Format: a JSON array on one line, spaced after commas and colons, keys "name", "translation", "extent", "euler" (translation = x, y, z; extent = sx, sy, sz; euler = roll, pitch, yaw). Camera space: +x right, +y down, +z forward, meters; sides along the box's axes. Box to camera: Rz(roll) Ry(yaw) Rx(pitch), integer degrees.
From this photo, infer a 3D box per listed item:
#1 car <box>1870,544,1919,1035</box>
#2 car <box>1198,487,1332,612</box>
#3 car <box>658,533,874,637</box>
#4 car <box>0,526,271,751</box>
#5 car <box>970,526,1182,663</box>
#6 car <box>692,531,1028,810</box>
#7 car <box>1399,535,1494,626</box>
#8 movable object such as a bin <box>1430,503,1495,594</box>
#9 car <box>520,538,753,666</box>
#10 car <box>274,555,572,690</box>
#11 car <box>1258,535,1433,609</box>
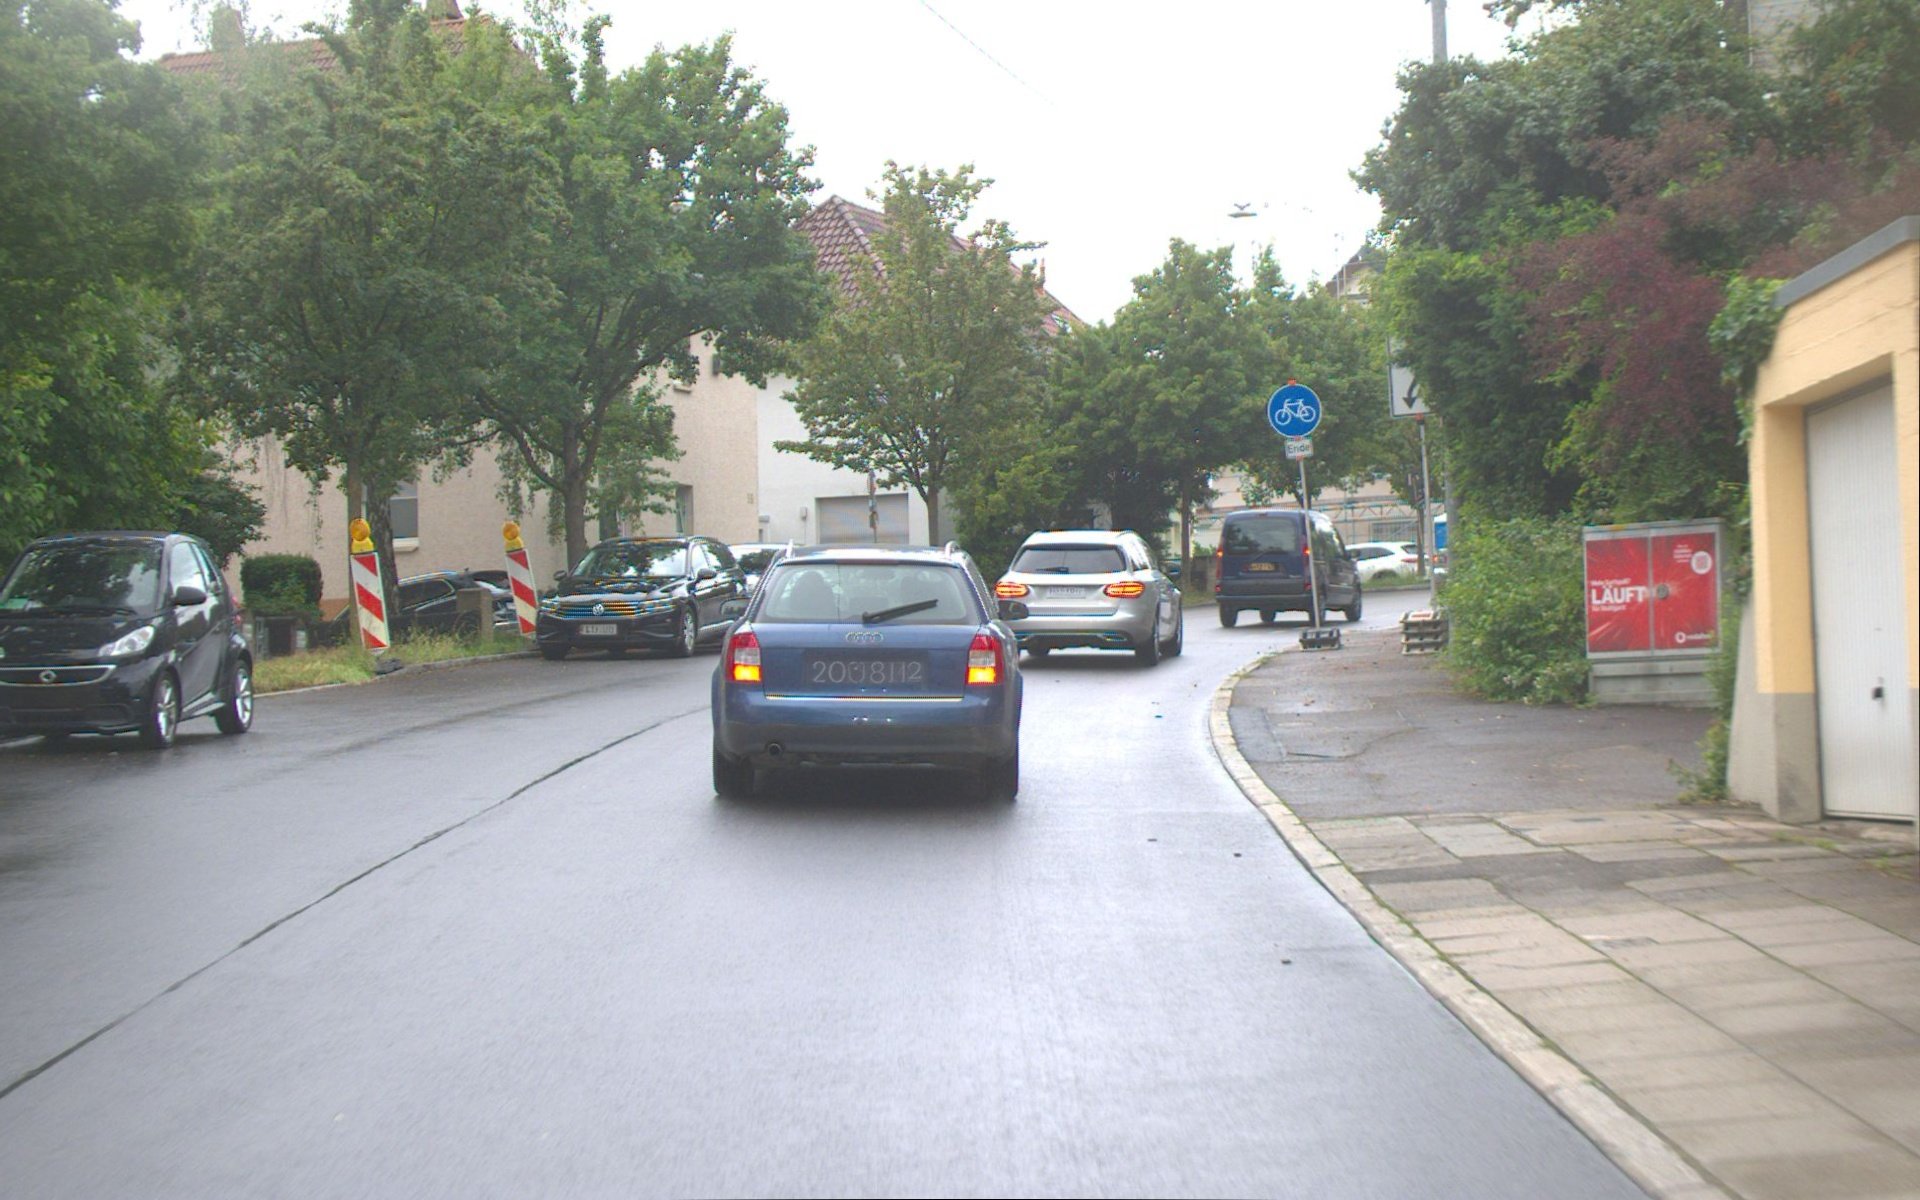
[{"name": "car", "translation": [4.780, 0.465, 9.231], "extent": [4.170, 1.401, 1.834], "euler": [-3, 2, 3]}, {"name": "car", "translation": [4.888, -0.821, 54.696], "extent": [1.731, 1.888, 4.054], "euler": [-1, 1, 10]}, {"name": "car", "translation": [-2.662, -0.235, 48.266], "extent": [1.708, 1.378, 4.527], "euler": [0, 1, 15]}, {"name": "car", "translation": [-6.184, 0.243, 25.178], "extent": [1.518, 1.529, 3.036], "euler": [-1, 1, 3]}, {"name": "car", "translation": [1.356, -0.099, 38.313], "extent": [1.909, 1.383, 4.349], "euler": [-2, 1, 8]}, {"name": "car", "translation": [-0.514, 0.339, 20.447], "extent": [1.777, 1.434, 4.000], "euler": [1, 2, 1]}, {"name": "car", "translation": [9.326, -0.378, 66.019], "extent": [1.720, 1.654, 3.713], "euler": [1, 0, 8]}, {"name": "movable object such as a bin", "translation": [14.262, -1.462, 97.510], "extent": [1.314, 2.497, 1.384], "euler": [-3, 0, 28]}, {"name": "car", "translation": [-3.908, -0.007, 42.299], "extent": [1.733, 1.479, 4.528], "euler": [-1, 1, 10]}, {"name": "car", "translation": [-8.641, 0.359, 55.287], "extent": [4.243, 1.500, 1.911], "euler": [-10, -3, 25]}, {"name": "car", "translation": [10.441, -0.753, 93.137], "extent": [4.202, 1.599, 1.948], "euler": [-6, -2, 26]}]
